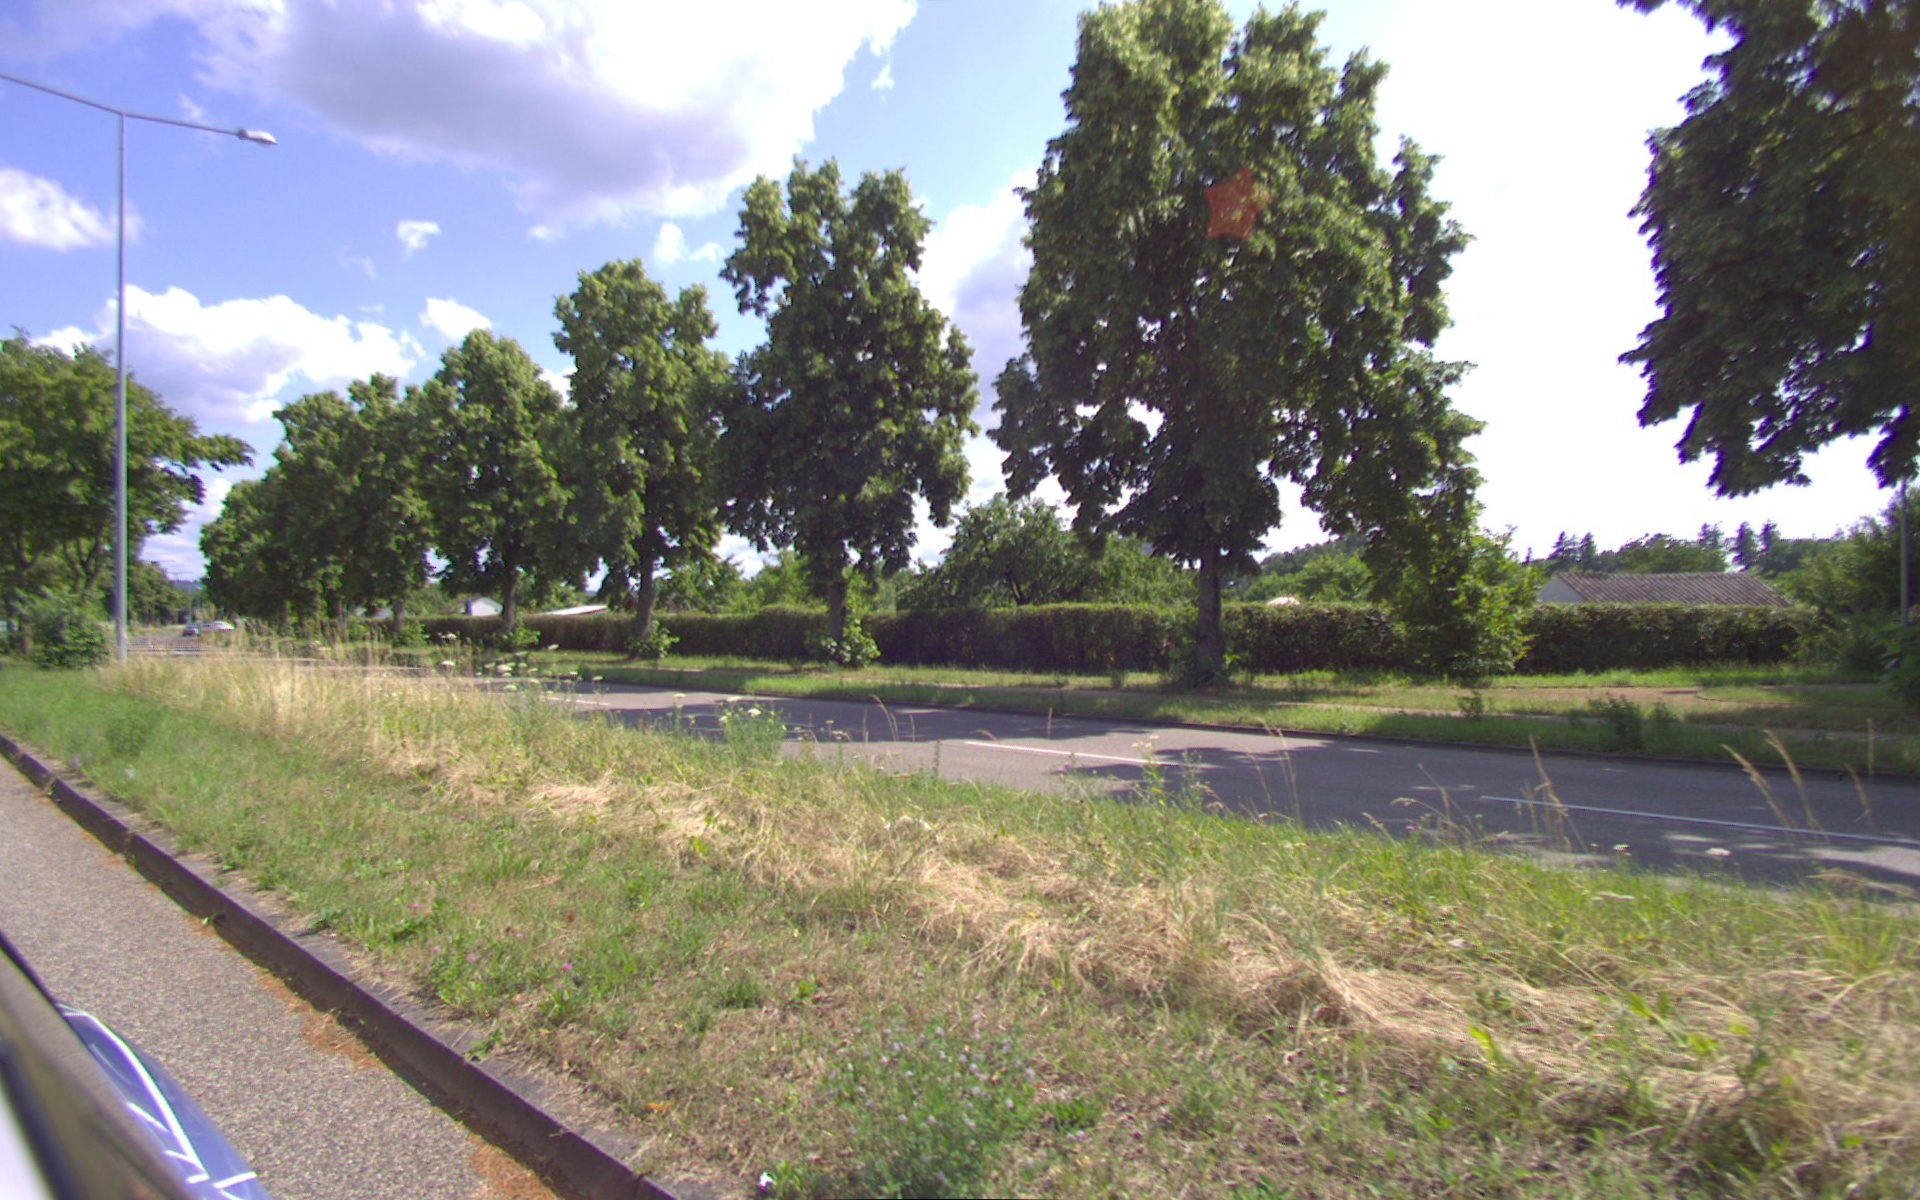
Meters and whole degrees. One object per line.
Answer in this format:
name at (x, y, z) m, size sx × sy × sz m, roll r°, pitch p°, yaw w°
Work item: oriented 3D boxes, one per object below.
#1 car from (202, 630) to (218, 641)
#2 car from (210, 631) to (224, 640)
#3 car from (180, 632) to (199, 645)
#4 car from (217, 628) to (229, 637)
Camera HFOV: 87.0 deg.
car at (-117.883, 5.589, 159.064) m, size 1.713 × 1.598 × 4.123 m, roll 2°, pitch -3°, yaw -33°
car at (-125.605, 5.982, 171.128) m, size 1.713 × 1.598 × 4.123 m, roll 2°, pitch -3°, yaw -33°
car at (-100.067, 4.959, 131.500) m, size 1.713 × 1.598 × 4.122 m, roll 2°, pitch -3°, yaw -35°
car at (-142.618, 6.258, 195.905) m, size 1.713 × 1.598 × 4.123 m, roll 2°, pitch -3°, yaw -33°
